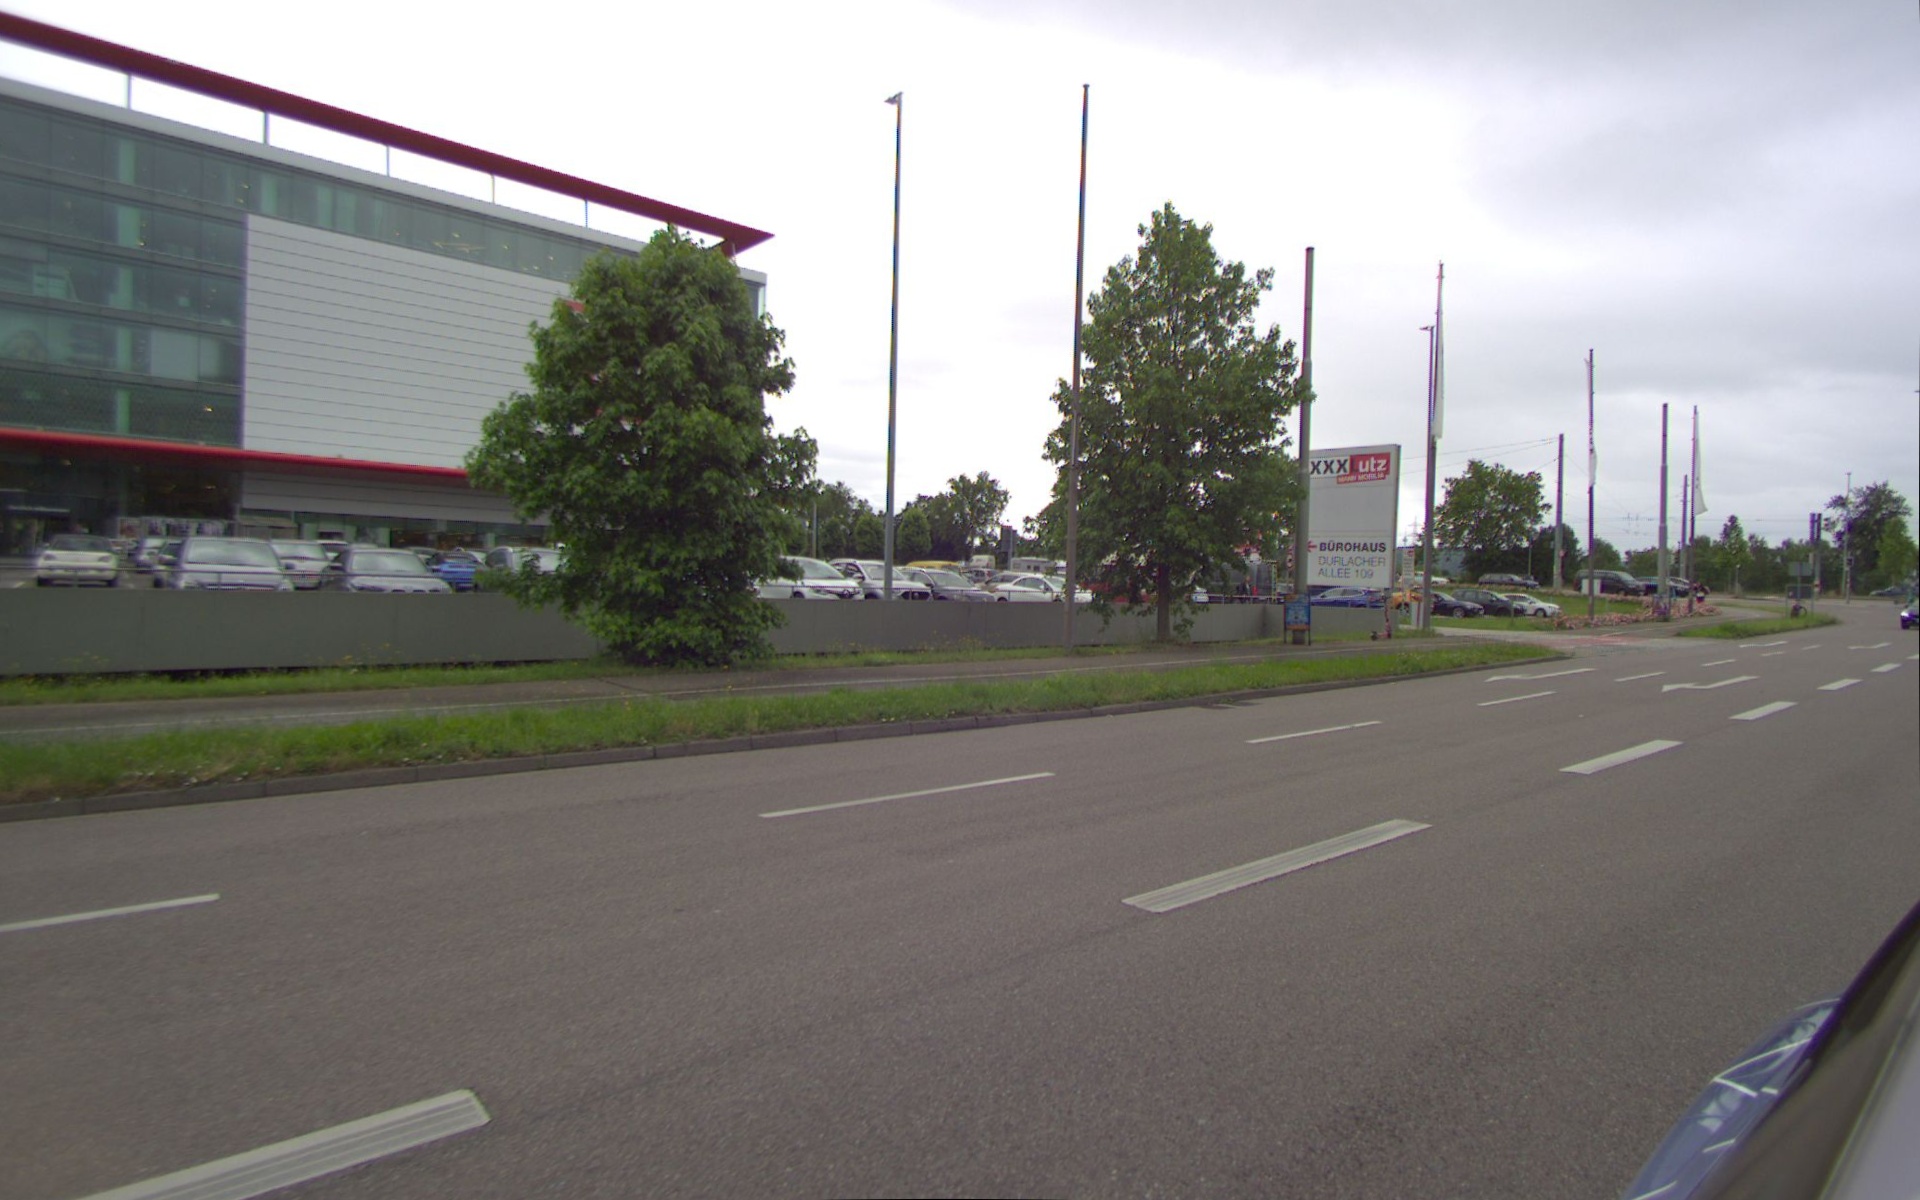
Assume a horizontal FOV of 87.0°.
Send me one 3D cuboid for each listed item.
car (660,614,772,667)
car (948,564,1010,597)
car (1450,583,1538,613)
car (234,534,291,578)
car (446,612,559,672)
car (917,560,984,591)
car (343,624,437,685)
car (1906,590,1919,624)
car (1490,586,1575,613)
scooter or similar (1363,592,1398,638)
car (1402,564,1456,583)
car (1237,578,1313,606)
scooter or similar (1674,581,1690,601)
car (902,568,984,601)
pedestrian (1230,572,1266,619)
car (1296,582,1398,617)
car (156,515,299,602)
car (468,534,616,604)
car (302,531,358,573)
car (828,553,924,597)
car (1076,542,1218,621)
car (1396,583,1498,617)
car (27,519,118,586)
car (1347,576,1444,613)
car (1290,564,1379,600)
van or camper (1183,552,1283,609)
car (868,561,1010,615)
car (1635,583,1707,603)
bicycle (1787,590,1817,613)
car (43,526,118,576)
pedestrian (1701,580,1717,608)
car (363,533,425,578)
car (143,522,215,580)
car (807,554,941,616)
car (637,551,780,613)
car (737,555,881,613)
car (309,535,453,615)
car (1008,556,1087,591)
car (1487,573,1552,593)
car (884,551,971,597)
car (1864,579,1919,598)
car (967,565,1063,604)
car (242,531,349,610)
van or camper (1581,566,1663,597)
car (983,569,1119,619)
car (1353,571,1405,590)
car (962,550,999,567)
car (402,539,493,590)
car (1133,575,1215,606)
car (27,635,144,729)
[{"bbox_3d":[-7.459,1.172,30.704,1.732,1.367,4.064,0,1,-39],"label":"car"},{"bbox_3d":[1.214,-1.269,65.395,1.850,2.073,3.995,0,1,-40],"label":"car"},{"bbox_3d":[30.409,-0.124,57.674,1.740,1.603,4.096,2,0,-44],"label":"car"},{"bbox_3d":[-27.580,-1.705,39.992,1.709,1.574,3.805,3,0,-35],"label":"car"},{"bbox_3d":[-12.238,1.054,26.961,1.732,1.367,4.062,0,1,-40],"label":"car"},{"bbox_3d":[-0.597,-1.544,63.404,1.823,1.798,4.191,1,2,-42],"label":"car"},{"bbox_3d":[-18.254,1.689,32.343,1.754,1.643,3.992,0,1,-43],"label":"car"},{"bbox_3d":[42.445,0.292,43.718,4.270,1.408,1.996,-1,2,-43],"label":"car"},{"bbox_3d":[34.474,-0.036,61.015,1.843,1.464,4.113,3,0,-41],"label":"car"},{"bbox_3d":[11.561,0.407,27.807,1.226,1.206,0.371,1,1,-41],"label":"scooter or similar"},{"bbox_3d":[41.632,-2.367,89.872,1.703,1.558,4.041,3,0,-41],"label":"car"},{"bbox_3d":[18.699,-0.511,60.229,1.910,1.575,4.001,0,1,-34],"label":"car"},{"bbox_3d":[45.888,-0.587,64.305,0.341,1.248,1.161,-1,1,11],"label":"scooter or similar"},{"bbox_3d":[-0.880,-0.747,49.353,1.707,1.488,4.250,3,-1,-38],"label":"car"},{"bbox_3d":[10.947,-0.181,38.495,0.870,1.741,0.941,3,-1,-42],"label":"pedestrian"},{"bbox_3d":[17.554,-0.069,46.025,1.782,1.473,3.996,-1,2,-39],"label":"car"},{"bbox_3d":[-13.538,-0.730,18.615,1.733,1.367,4.061,3,0,-41],"label":"car"},{"bbox_3d":[-9.376,-0.668,22.518,1.778,1.367,4.159,3,0,-41],"label":"car"},{"bbox_3d":[-25.697,-1.915,41.252,1.707,1.607,3.580,0,1,-36],"label":"car"},{"bbox_3d":[-3.413,-1.005,40.620,1.845,1.616,3.996,3,0,-39],"label":"car"},{"bbox_3d":[6.625,-0.658,36.332,2.131,2.612,4.734,3,0,-39],"label":"car"},{"bbox_3d":[25.085,-0.047,52.239,4.514,1.602,1.747,2,3,37],"label":"car"},{"bbox_3d":[-25.415,-1.331,29.087,1.702,1.723,3.746,3,0,-38],"label":"car"},{"bbox_3d":[21.218,-0.298,49.385,1.781,1.664,4.000,0,2,-36],"label":"car"},{"bbox_3d":[24.002,-1.198,65.011,2.082,2.192,5.053,0,2,-35],"label":"car"},{"bbox_3d":[15.082,-1.126,56.179,1.953,3.020,5.400,0,2,-34],"label":"van or camper"},{"bbox_3d":[-0.696,-0.368,30.026,1.833,1.437,4.477,3,0,-39],"label":"car"},{"bbox_3d":[55.101,-0.552,78.532,1.800,1.482,4.213,0,1,-28],"label":"car"},{"bbox_3d":[40.162,0.065,48.252,1.659,1.061,0.665,-1,2,-35],"label":"bicycle"},{"bbox_3d":[-31.703,-1.732,36.428,1.834,1.605,4.290,3,0,-43],"label":"car"},{"bbox_3d":[44.459,-0.375,60.100,0.713,1.616,0.773,2,3,40],"label":"pedestrian"},{"bbox_3d":[-23.983,-1.839,42.838,1.860,1.772,4.000,0,1,-36],"label":"car"},{"bbox_3d":[-23.390,-1.432,30.306,1.583,1.545,3.572,3,0,-38],"label":"car"},{"bbox_3d":[-2.468,-0.432,28.247,1.731,1.560,4.064,3,0,-39],"label":"car"},{"bbox_3d":[-6.278,-0.450,24.950,1.733,1.367,4.061,3,0,-41],"label":"car"},{"bbox_3d":[-4.030,-0.434,26.580,1.803,1.367,4.061,3,0,-41],"label":"car"},{"bbox_3d":[-11.780,-0.489,20.476,1.733,1.417,4.061,3,0,-41],"label":"car"},{"bbox_3d":[7.905,-2.434,91.911,6.928,3.027,2.725,2,0,44],"label":"car"},{"bbox_3d":[46.421,-1.408,84.012,1.931,1.482,4.323,0,2,-35],"label":"car"},{"bbox_3d":[-1.395,-1.089,42.490,1.702,1.790,3.745,3,0,-39],"label":"car"},{"bbox_3d":[79.517,-0.992,86.032,3.806,1.531,1.700,2,0,38],"label":"car"},{"bbox_3d":[2.425,-0.701,45.598,1.800,1.604,4.422,3,-1,-38],"label":"car"},{"bbox_3d":[-18.570,-0.798,28.202,1.965,2.039,4.183,0,1,-41],"label":"car"},{"bbox_3d":[50.215,-1.444,76.873,2.080,2.037,4.764,-2,4,-25],"label":"van or camper"},{"bbox_3d":[2.911,-0.212,33.250,1.925,1.479,4.385,3,0,-39],"label":"car"},{"bbox_3d":[38.681,-1.814,93.450,1.717,1.622,4.067,3,0,-43],"label":"car"},{"bbox_3d":[3.374,-6.994,169.955,5.882,2.658,2.622,3,1,44],"label":"car"},{"bbox_3d":[-17.744,-1.245,34.981,1.802,1.643,3.993,0,3,-43],"label":"car"},{"bbox_3d":[11.270,-0.516,53.493,1.830,1.571,3.996,-1,2,-39],"label":"car"},{"bbox_3d":[-18.506,1.643,21.494,1.733,1.571,4.062,0,1,-40],"label":"car"}]
